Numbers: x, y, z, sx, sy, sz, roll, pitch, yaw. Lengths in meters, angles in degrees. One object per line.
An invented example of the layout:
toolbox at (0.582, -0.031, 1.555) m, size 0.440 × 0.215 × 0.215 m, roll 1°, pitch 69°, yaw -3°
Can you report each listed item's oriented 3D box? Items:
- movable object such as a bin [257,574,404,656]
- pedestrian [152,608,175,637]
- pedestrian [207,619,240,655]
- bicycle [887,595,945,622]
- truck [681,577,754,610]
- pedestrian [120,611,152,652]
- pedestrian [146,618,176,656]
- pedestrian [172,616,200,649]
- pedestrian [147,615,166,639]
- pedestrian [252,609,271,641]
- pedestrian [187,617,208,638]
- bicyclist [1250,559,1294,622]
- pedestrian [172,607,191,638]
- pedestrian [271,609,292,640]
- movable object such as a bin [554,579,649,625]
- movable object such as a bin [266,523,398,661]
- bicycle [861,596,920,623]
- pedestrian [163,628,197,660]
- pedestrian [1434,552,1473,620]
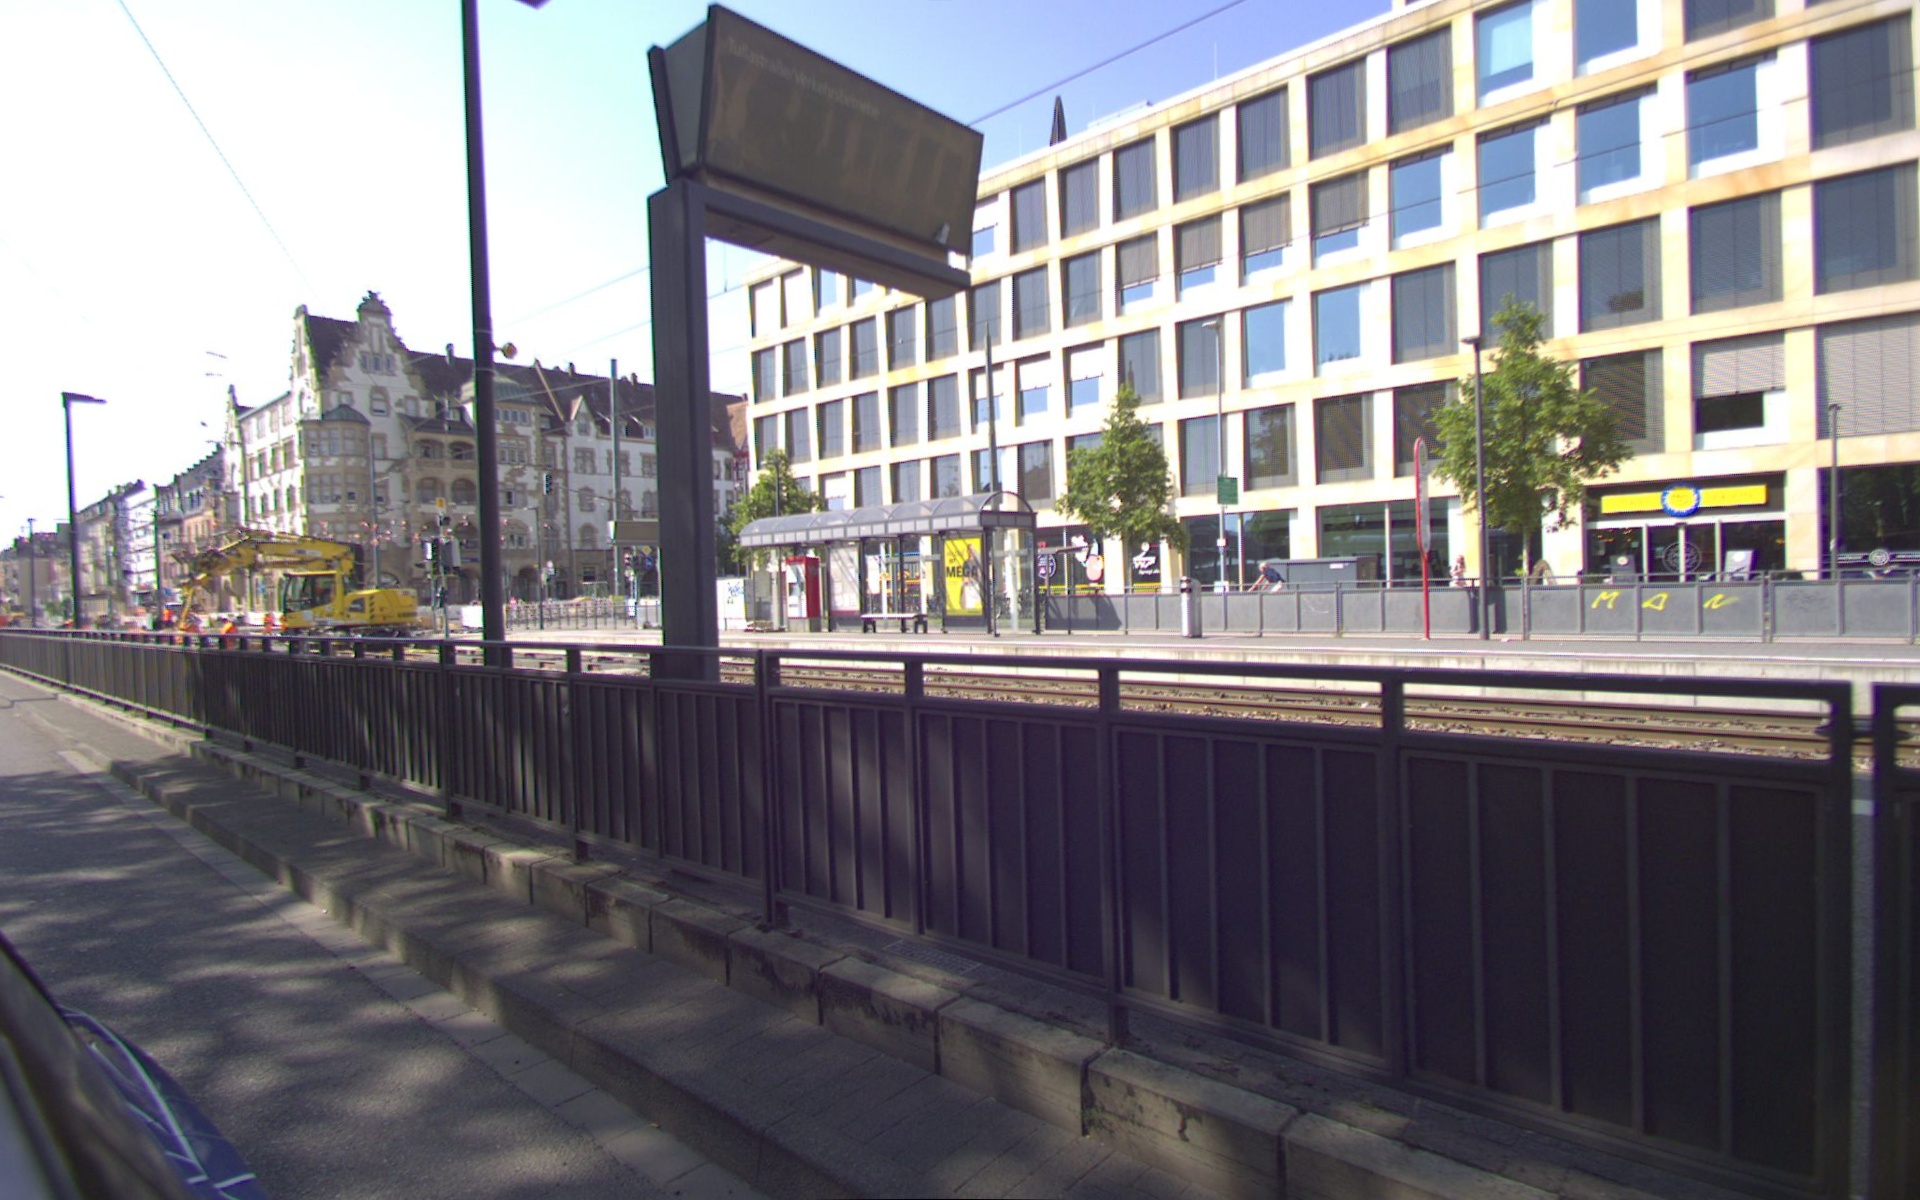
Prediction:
movable object such as a bin at (-26.946, 0.601, 43.444) m, size 3.550 × 3.247 × 4.089 m, roll -2°, pitch 0°, yaw 27°
pedestrian at (-45.565, 1.279, 57.900) m, size 0.727 × 1.568 × 0.753 m, roll -2°, pitch 0°, yaw 0°
pedestrian at (-24.896, 1.260, 34.226) m, size 0.692 × 1.163 × 0.589 m, roll -2°, pitch 0°, yaw -8°
bicycle at (-1.763, 0.341, 40.948) m, size 0.944 × 0.975 × 2.406 m, roll -2°, pitch 0°, yaw 40°
truck at (-22.036, -0.601, 92.267) m, size 2.689 × 2.836 × 5.962 m, roll -2°, pitch 1°, yaw 39°
pedestrian at (-30.708, 1.157, 37.715) m, size 0.730 × 1.490 × 0.705 m, roll -2°, pitch 0°, yaw -26°
pedestrian at (-29.110, 1.331, 36.880) m, size 0.691 × 1.345 × 0.839 m, roll -2°, pitch 0°, yaw -27°
pedestrian at (-29.268, 1.217, 38.295) m, size 0.691 × 1.186 × 0.704 m, roll -2°, pitch 0°, yaw -27°
pedestrian at (-44.122, 1.495, 55.574) m, size 0.547 × 1.256 × 0.669 m, roll -2°, pitch 0°, yaw 40°
pedestrian at (-38.673, 1.389, 56.053) m, size 0.728 × 1.715 × 0.761 m, roll -2°, pitch 0°, yaw -29°
pedestrian at (-44.498, 1.618, 59.081) m, size 0.865 × 1.192 × 0.723 m, roll 0°, pitch -1°, yaw 35°
bicyclist at (7.242, -0.216, 23.478) m, size 0.784 × 1.413 × 0.622 m, roll 0°, pitch -1°, yaw 42°
pedestrian at (-44.498, 1.277, 57.850) m, size 0.678 × 1.715 × 0.743 m, roll -2°, pitch 0°, yaw 41°
pedestrian at (-37.967, 1.361, 56.618) m, size 0.758 × 1.715 × 0.731 m, roll -2°, pitch 0°, yaw 41°
movable object such as a bin at (-24.162, 0.109, 68.360) m, size 2.491 × 2.810 × 5.443 m, roll 0°, pitch 3°, yaw 43°
movable object such as a bin at (-22.387, -0.256, 36.018) m, size 4.213 × 4.588 × 2.953 m, roll -2°, pitch 0°, yaw 44°
bicycle at (-2.860, 0.386, 41.874) m, size 1.020 × 0.975 × 2.406 m, roll -2°, pitch 0°, yaw 40°
pedestrian at (-25.097, 1.409, 32.561) m, size 0.882 × 0.962 × 0.693 m, roll -2°, pitch 0°, yaw 43°
pedestrian at (15.070, -0.421, 30.889) m, size 0.758 × 2.029 × 0.822 m, roll -2°, pitch 0°, yaw -45°
